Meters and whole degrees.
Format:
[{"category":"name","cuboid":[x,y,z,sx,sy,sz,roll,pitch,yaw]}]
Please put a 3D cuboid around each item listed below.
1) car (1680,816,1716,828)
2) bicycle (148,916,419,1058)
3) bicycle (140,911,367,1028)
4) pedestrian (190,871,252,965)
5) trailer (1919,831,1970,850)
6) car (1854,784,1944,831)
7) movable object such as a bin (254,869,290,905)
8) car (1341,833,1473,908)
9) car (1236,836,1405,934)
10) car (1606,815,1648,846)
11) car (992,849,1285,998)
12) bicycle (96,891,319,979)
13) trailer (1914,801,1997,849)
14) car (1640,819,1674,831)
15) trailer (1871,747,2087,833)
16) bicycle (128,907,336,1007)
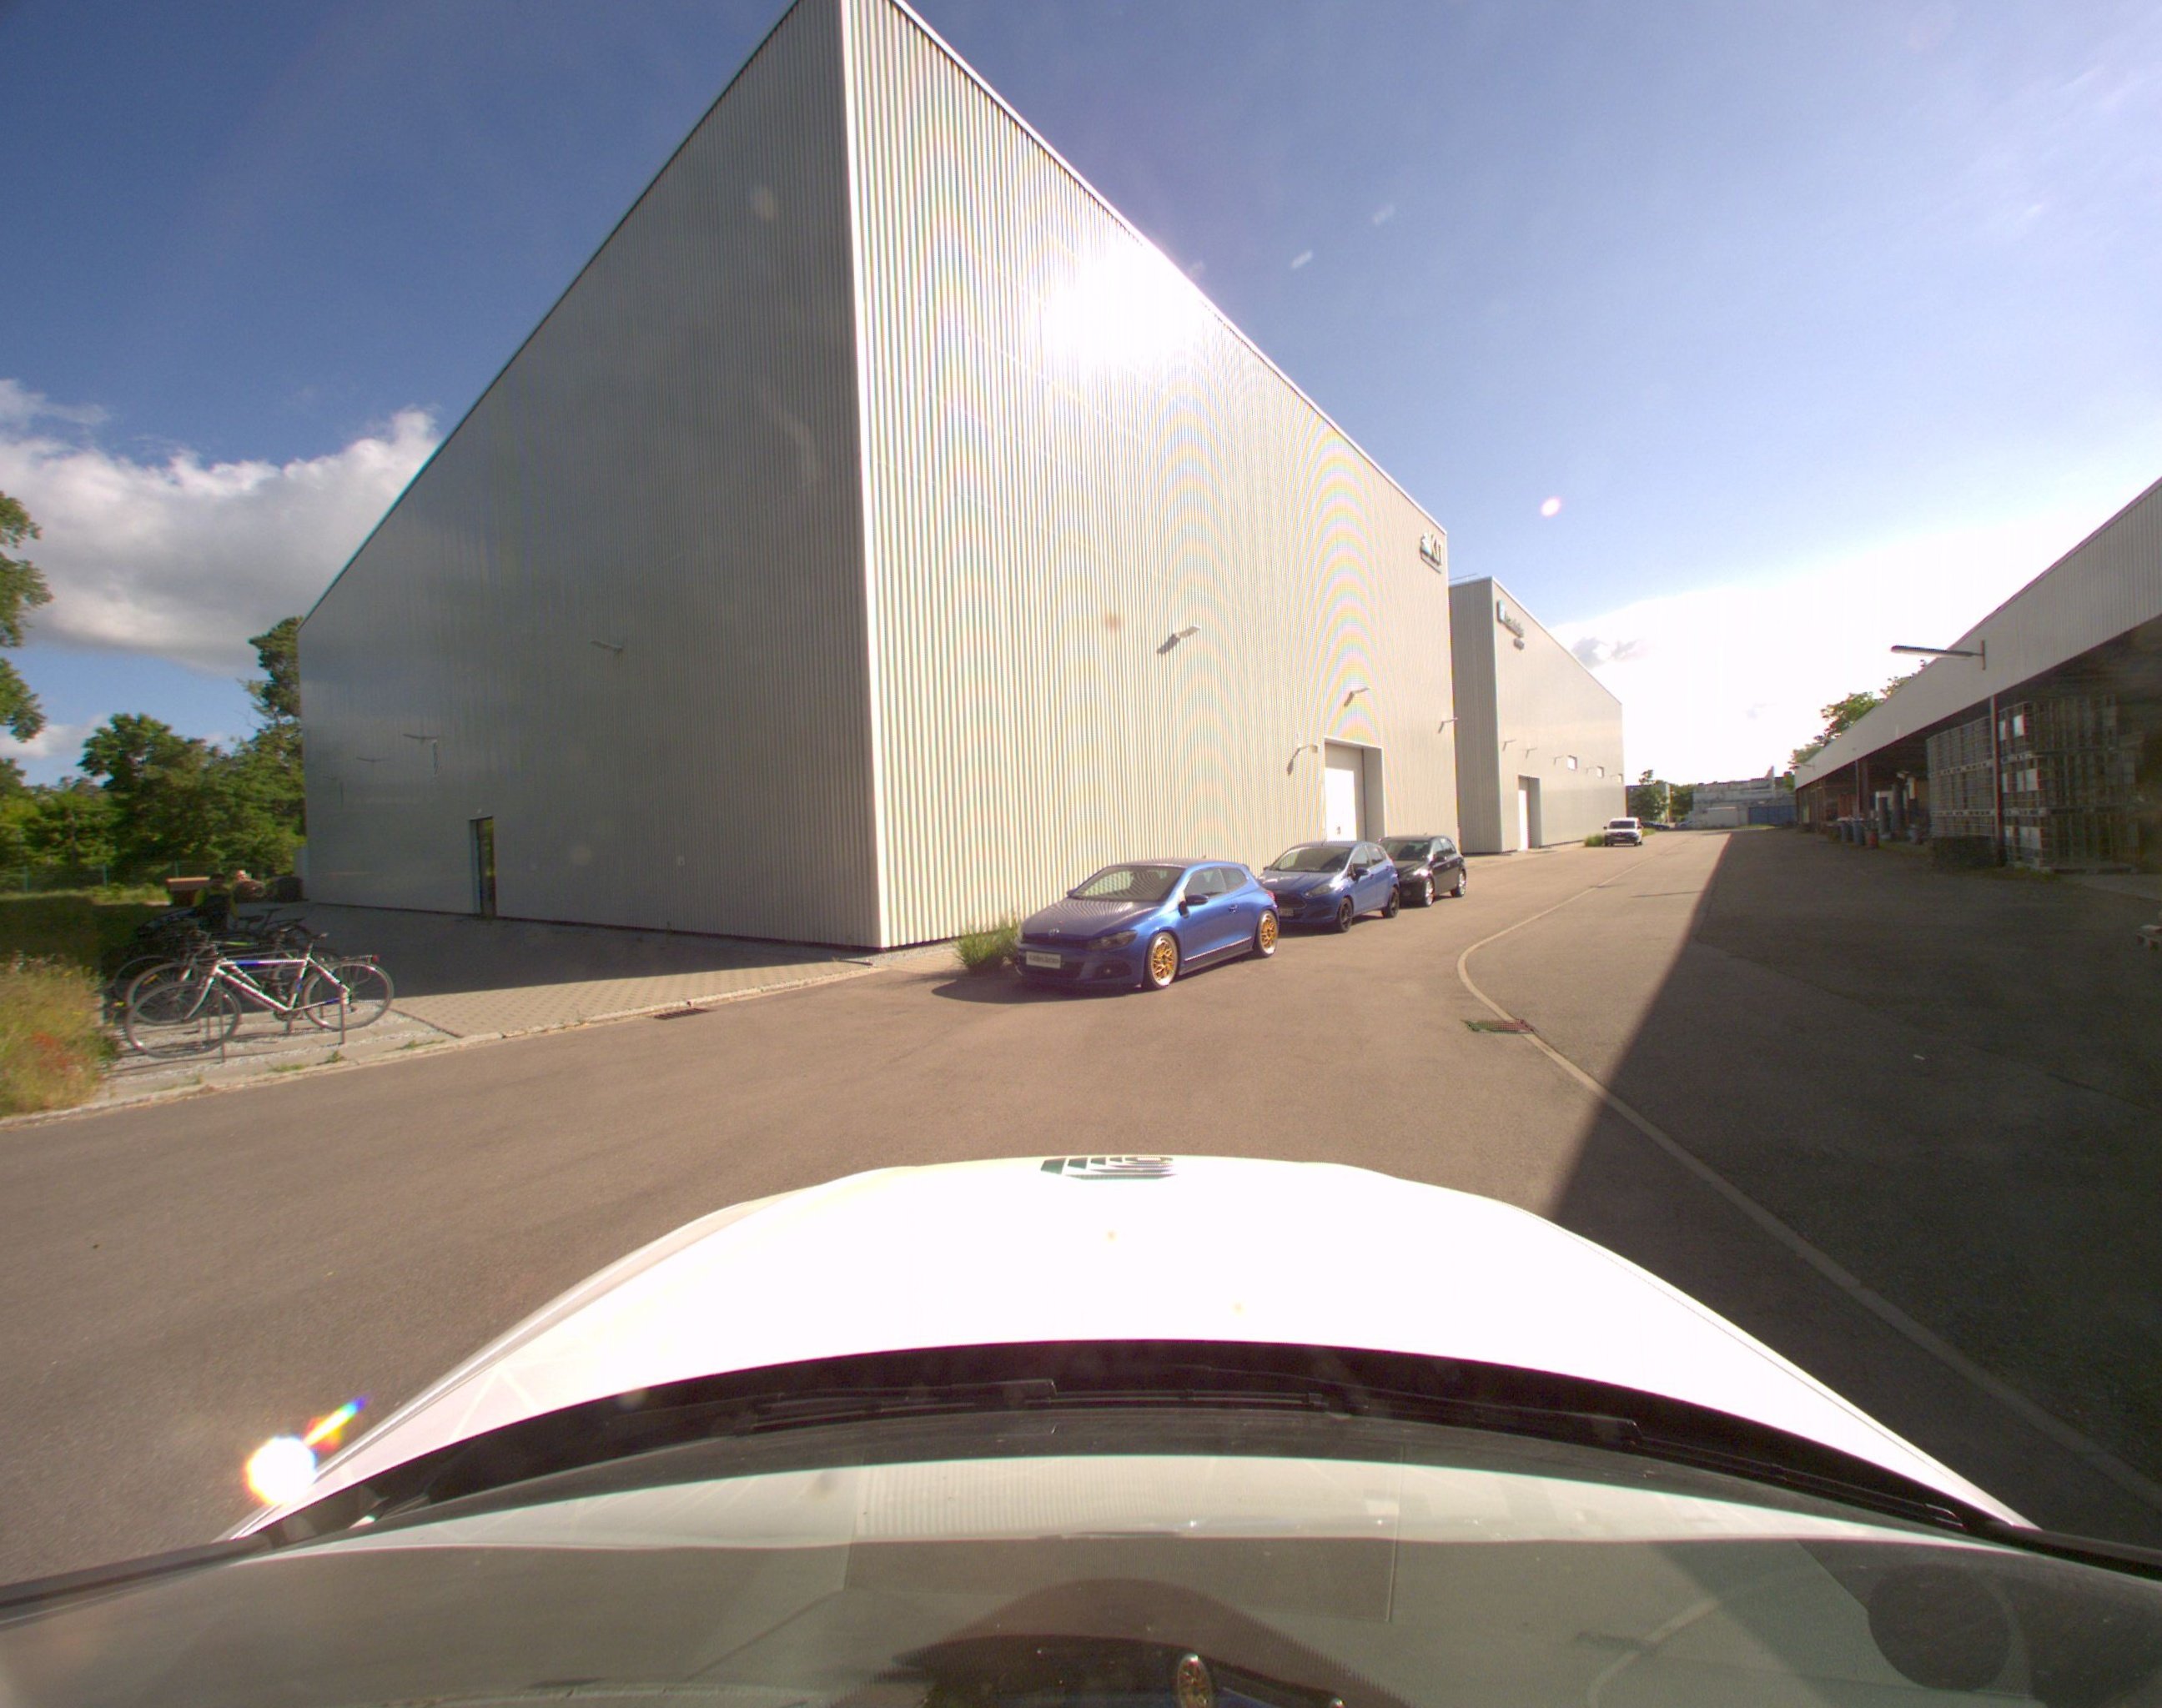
[{"category":"car","cuboid":[86.749,-4.512,114.517,3.848,1.461,1.633,-2,1,42]},{"category":"bicycle","cuboid":[-7.735,1.231,8.007,0.453,1.062,1.817,-2,1,34]},{"category":"bicycle","cuboid":[-9.692,1.303,9.608,0.518,1.082,1.809,-2,1,41]},{"category":"pedestrian","cuboid":[-16.497,1.199,15.632,0.512,1.728,0.632,-3,0,-17]},{"category":"trailer","cuboid":[27.068,-0.430,25.556,0.961,0.567,0.737,0,4,35]},{"category":"car","cuboid":[47.922,-2.688,47.805,3.471,2.441,2.013,-3,0,40]},{"category":"movable object such as a bin","cuboid":[-47.557,1.913,47.877,1.111,2.013,1.432,-2,1,44]},{"category":"car","cuboid":[7.443,0.286,18.400,1.635,1.446,3.903,2,3,39]},{"category":"car","cuboid":[4.390,0.450,14.556,1.604,1.447,3.789,-1,2,38]},{"category":"car","cuboid":[34.745,-1.518,51.779,1.889,1.793,4.026,-2,1,37]},{"category":"car","cuboid":[0.907,0.681,10.128,1.652,1.349,3.979,0,2,38]},{"category":"bicycle","cuboid":[-15.819,1.411,14.882,1.126,1.266,2.655,-2,1,44]},{"category":"trailer","cuboid":[29.610,-1.000,27.644,1.530,1.518,1.926,0,4,35]},{"category":"car","cuboid":[83.817,-4.205,118.509,3.847,1.461,1.633,-2,1,39]},{"category":"trailer","cuboid":[41.812,-2.872,38.294,6.326,3.370,2.843,-3,0,38]},{"category":"bicycle","cuboid":[-11.626,1.362,11.223,0.519,1.094,1.906,-3,0,38]}]
